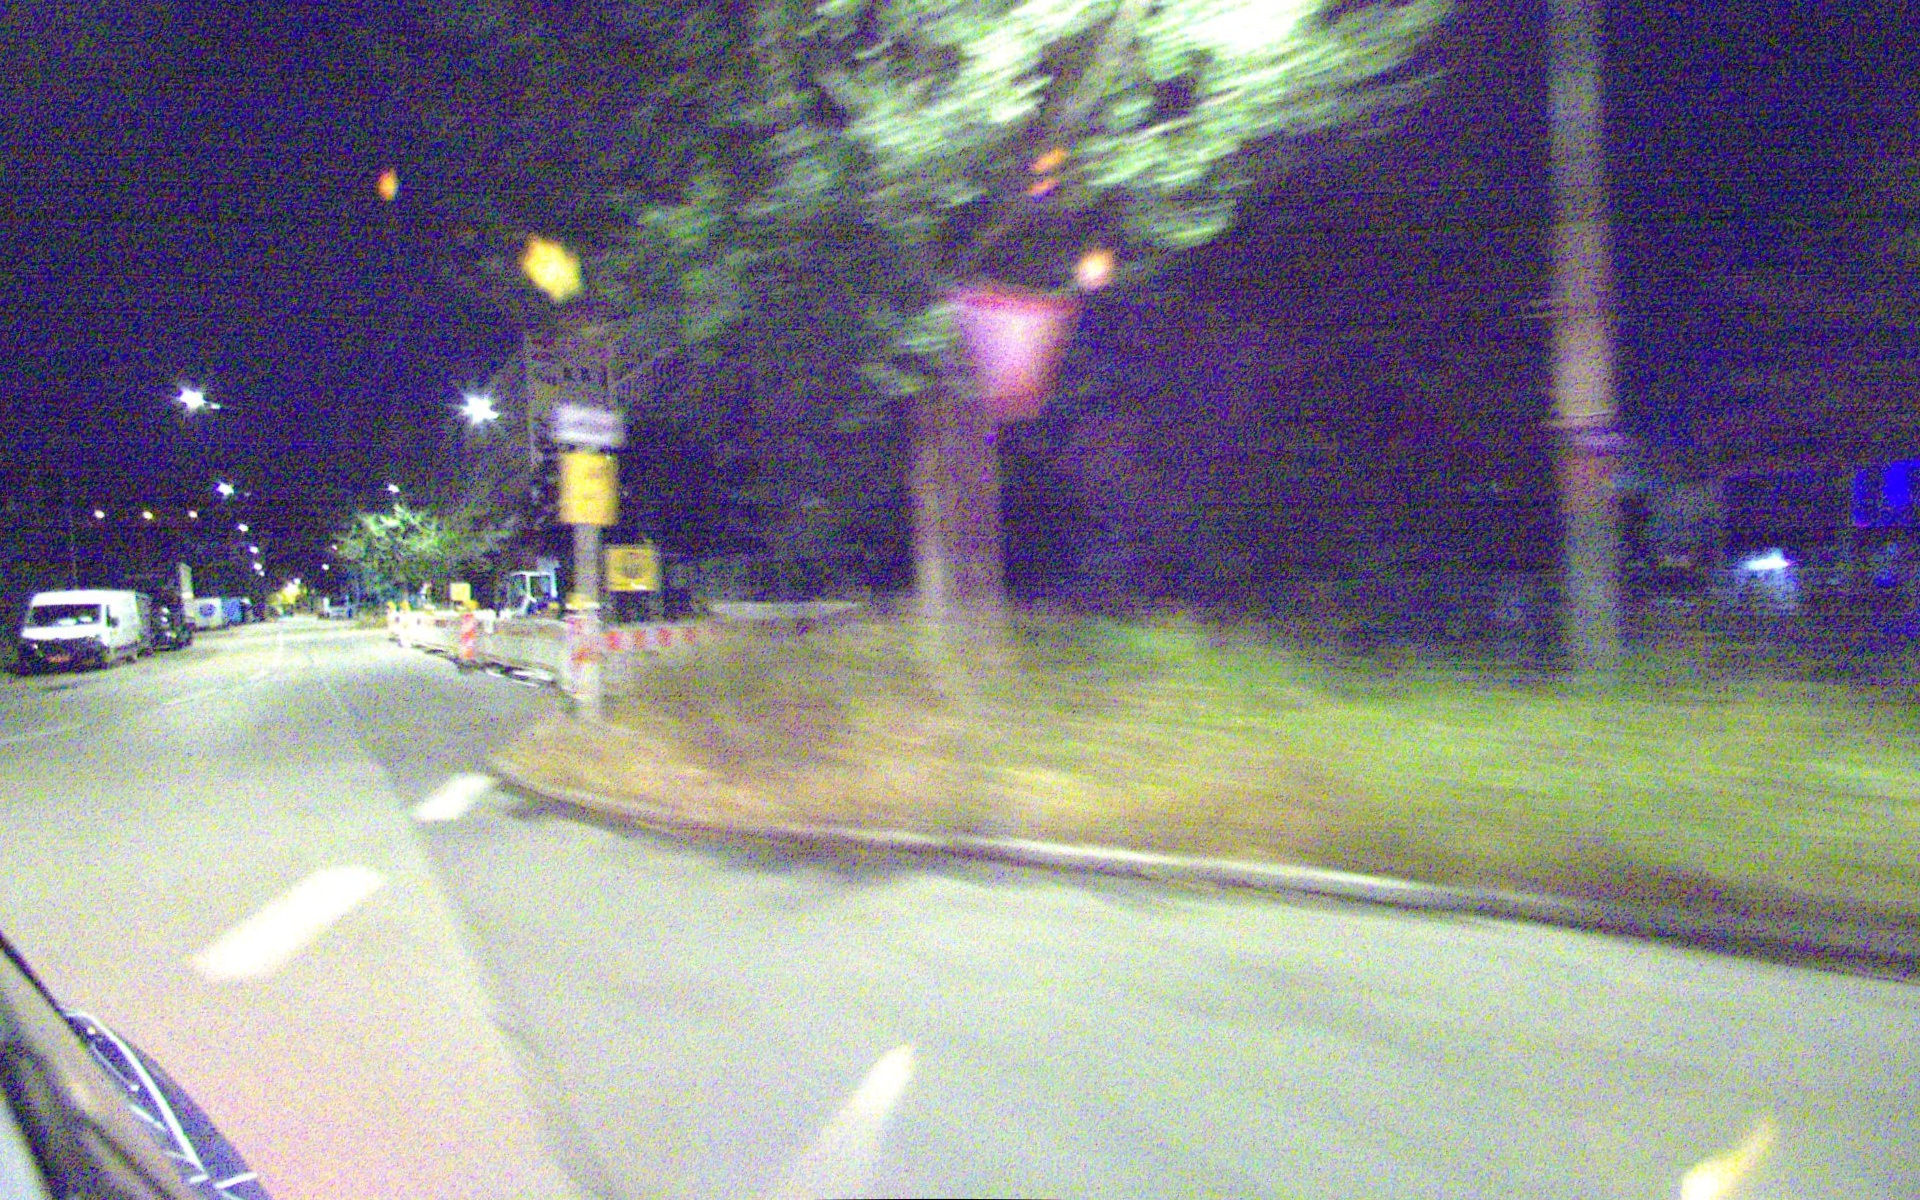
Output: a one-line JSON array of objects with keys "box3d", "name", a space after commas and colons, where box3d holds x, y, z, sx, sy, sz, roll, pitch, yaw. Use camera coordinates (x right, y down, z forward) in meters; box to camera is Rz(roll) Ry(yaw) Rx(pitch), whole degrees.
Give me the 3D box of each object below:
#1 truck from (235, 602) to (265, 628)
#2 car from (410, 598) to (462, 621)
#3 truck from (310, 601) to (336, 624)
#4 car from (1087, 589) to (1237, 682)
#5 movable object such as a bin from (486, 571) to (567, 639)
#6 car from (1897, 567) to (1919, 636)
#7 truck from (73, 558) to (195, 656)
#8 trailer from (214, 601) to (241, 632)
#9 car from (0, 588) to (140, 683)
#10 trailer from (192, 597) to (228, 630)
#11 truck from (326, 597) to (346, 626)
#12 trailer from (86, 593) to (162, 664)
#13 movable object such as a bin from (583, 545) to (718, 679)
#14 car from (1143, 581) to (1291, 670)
[{"box3d": [-111.669, 2.370, 159.348, 2.475, 3.865, 12.696, -4, 1, -29], "name": "truck"}, {"box3d": [-52.738, 0.966, 101.863, 4.373, 1.986, 2.005, -4, 1, -35], "name": "car"}, {"box3d": [-115.037, 2.303, 182.606, 2.785, 3.658, 10.423, -4, 1, -37], "name": "truck"}, {"box3d": [6.174, 1.046, 31.471, 1.966, 2.573, 4.496, -4, 1, -30], "name": "car"}, {"box3d": [-16.522, 0.186, 38.561, 2.833, 2.486, 1.535, -1, 0, 36], "name": "movable object such as a bin"}, {"box3d": [32.007, -0.047, 30.146, 2.455, 2.041, 5.553, -4, 1, -35], "name": "car"}, {"box3d": [-37.496, 0.289, 46.297, 3.280, 3.897, 9.352, -4, 2, -34], "name": "truck"}, {"box3d": [-84.151, 1.939, 116.237, 2.367, 3.350, 4.372, -4, 1, -37], "name": "trailer"}, {"box3d": [-27.597, 1.048, 31.623, 2.080, 2.535, 6.390, -4, 1, -31], "name": "car"}, {"box3d": [-64.220, 1.181, 86.755, 1.966, 2.670, 4.012, -4, 1, -31], "name": "trailer"}, {"box3d": [-98.688, 1.720, 160.045, 2.602, 4.347, 12.861, -1, 0, -31], "name": "truck"}, {"box3d": [-32.341, 1.092, 39.261, 1.610, 2.492, 5.040, -4, 1, -34], "name": "trailer"}, {"box3d": [-7.030, 0.298, 22.795, 1.551, 2.755, 3.706, 0, -2, -41], "name": "movable object such as a bin"}, {"box3d": [8.235, 0.804, 32.823, 1.966, 2.573, 4.496, -4, 1, -30], "name": "car"}]
